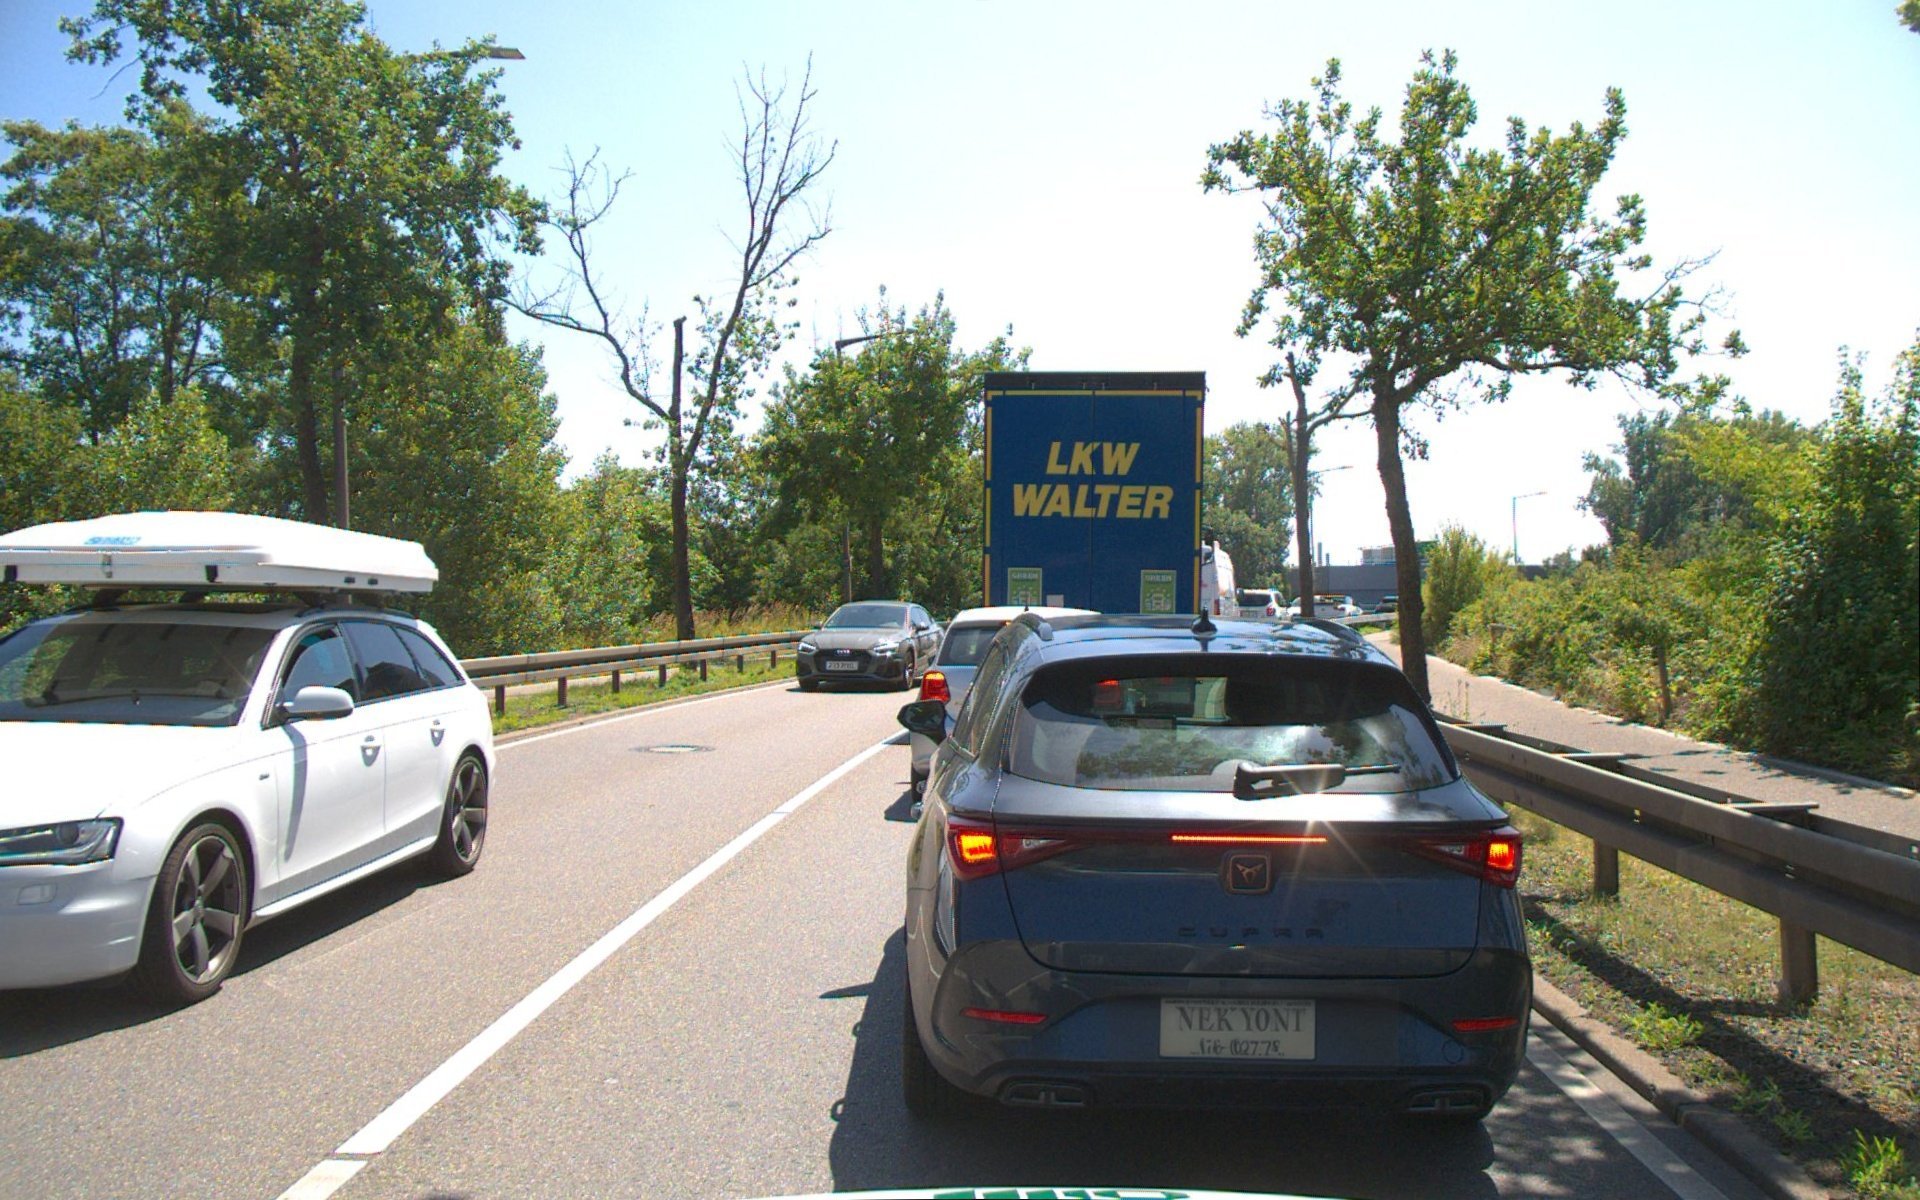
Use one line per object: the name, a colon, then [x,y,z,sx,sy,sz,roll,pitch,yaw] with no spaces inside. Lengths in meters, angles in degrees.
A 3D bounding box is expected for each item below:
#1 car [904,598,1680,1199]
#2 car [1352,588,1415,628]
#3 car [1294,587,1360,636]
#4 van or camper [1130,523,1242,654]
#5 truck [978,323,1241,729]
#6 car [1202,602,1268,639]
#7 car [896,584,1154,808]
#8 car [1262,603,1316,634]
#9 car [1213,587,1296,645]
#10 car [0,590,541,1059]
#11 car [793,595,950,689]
car: [0.726,0.734,5.601,1.708,1.457,3.879,1,0,0]
car: [19.552,0.355,76.271,1.954,1.747,4.865,1,0,25]
car: [14.686,0.456,65.971,1.952,1.840,4.846,1,0,20]
van or camper: [5.800,-0.274,41.814,2.413,3.051,6.091,1,0,11]
truck: [2.704,-0.838,26.944,2.887,4.526,16.810,1,0,7]
car: [11.108,0.798,66.534,1.819,1.420,4.406,1,0,20]
car: [0.487,0.666,13.511,1.772,1.534,4.000,1,0,1]
car: [15.608,0.849,78.313,1.819,1.420,4.406,1,0,20]
car: [9.445,0.491,52.832,1.952,1.742,4.622,1,0,18]
car: [-3.467,0.690,7.418,1.781,1.446,4.468,1,0,3]
car: [-1.383,0.651,27.767,1.722,1.420,4.409,1,0,9]
